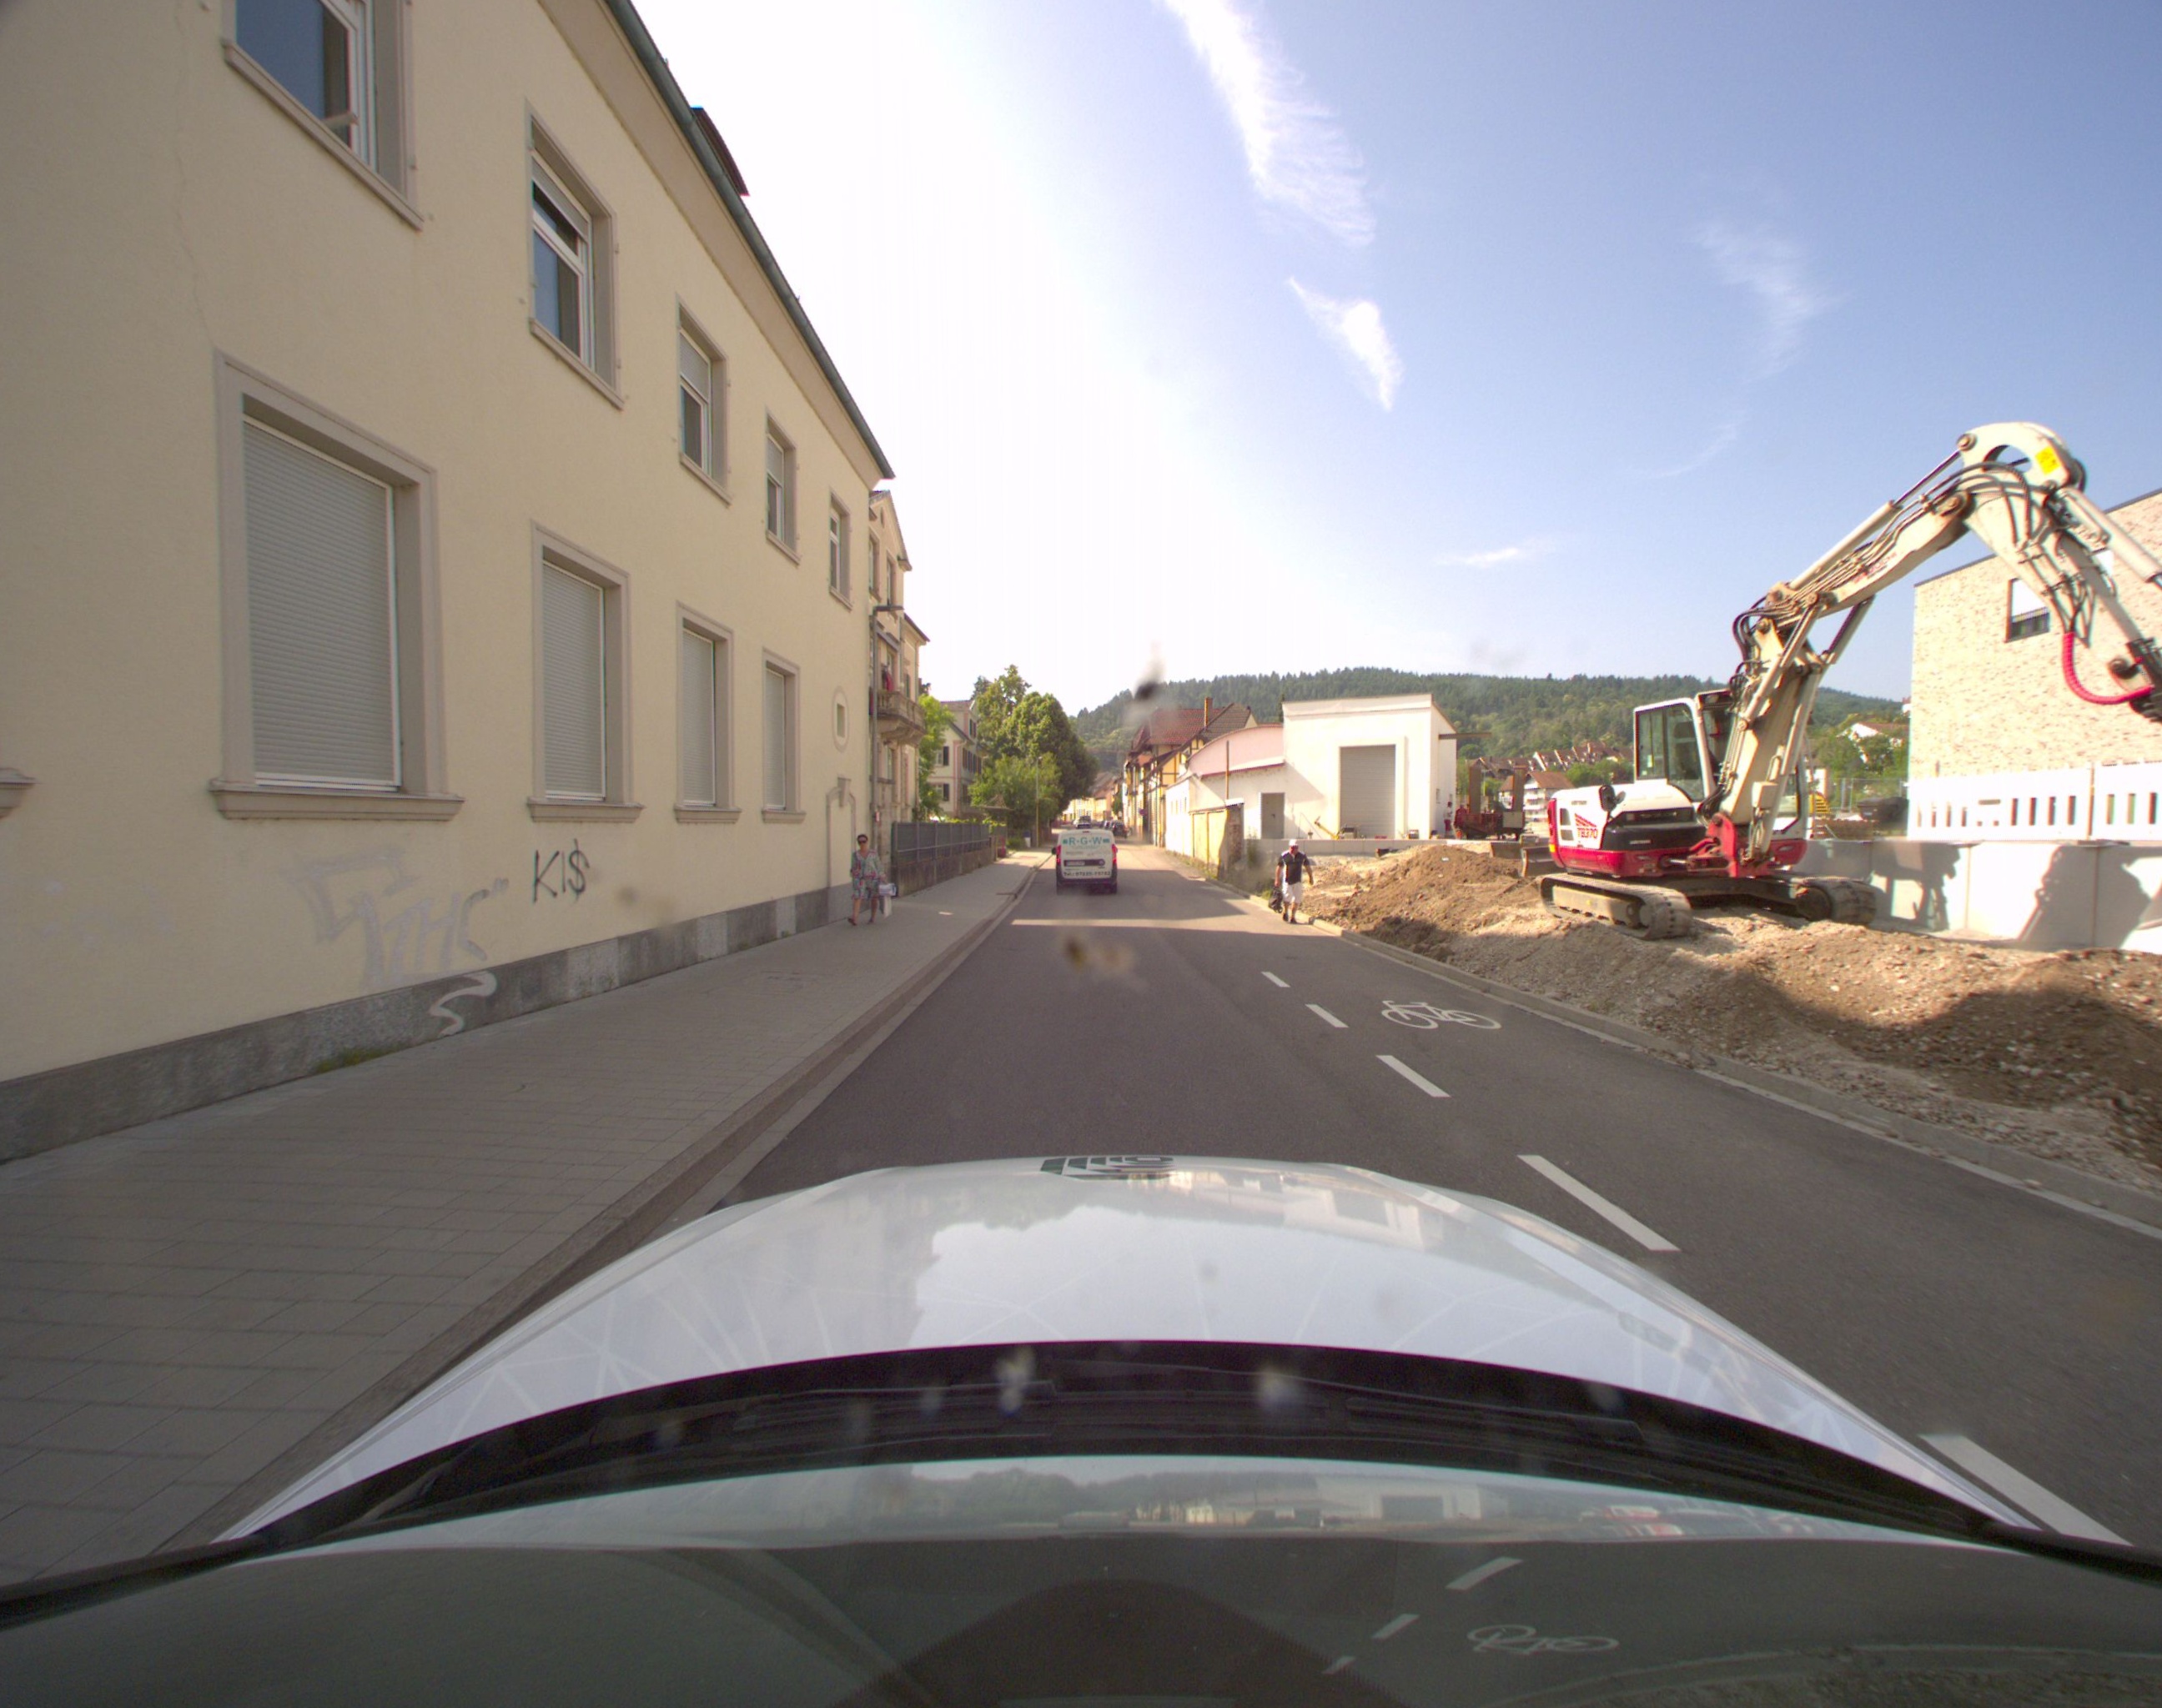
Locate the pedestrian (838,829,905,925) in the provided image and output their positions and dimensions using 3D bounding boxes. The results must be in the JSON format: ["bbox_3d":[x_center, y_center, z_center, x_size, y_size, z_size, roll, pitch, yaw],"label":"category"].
[{"bbox_3d":[-3.662,0.385,14.293,0.955,1.631,0.758,1,1,0],"label":"pedestrian"}]

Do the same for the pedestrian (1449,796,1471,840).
[{"bbox_3d":[16.584,-1.590,35.635,0.628,1.896,0.611,5,4,45],"label":"pedestrian"}]

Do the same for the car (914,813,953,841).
[{"bbox_3d":[-10.187,-1.877,56.487,1.818,1.772,4.681,3,2,-2],"label":"car"}]

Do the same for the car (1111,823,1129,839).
[{"bbox_3d":[4.336,-2.598,91.466,1.804,1.596,3.928,2,3,1],"label":"car"}]

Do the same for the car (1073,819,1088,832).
[{"bbox_3d":[-0.127,-3.804,109.053,1.806,1.596,3.924,2,3,-3],"label":"car"}]

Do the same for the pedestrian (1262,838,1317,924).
[{"bbox_3d":[4.194,0.527,16.415,0.885,1.683,0.718,2,1,0],"label":"pedestrian"}]

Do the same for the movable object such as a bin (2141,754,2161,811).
[{"bbox_3d":[29.080,-1.855,21.138,1.291,1.463,1.324,3,3,10],"label":"movable object such as a bin"}]

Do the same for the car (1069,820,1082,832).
[{"bbox_3d":[-1.388,-6.826,198.600,2.870,2.835,6.116,-1,2,-5],"label":"car"}]

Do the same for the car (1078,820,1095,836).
[{"bbox_3d":[0.612,-2.910,89.368,1.805,1.596,3.927,2,3,0],"label":"car"}]

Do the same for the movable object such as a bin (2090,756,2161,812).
[{"bbox_3d":[29.480,-1.914,22.563,1.291,1.463,1.324,3,3,10],"label":"movable object such as a bin"}]

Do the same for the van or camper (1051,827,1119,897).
[{"bbox_3d":[0.084,0.147,24.677,1.822,1.844,4.188,-2,2,-1],"label":"van or camper"}]

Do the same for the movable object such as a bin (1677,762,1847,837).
[{"bbox_3d":[25.478,-1.972,30.701,4.570,2.569,1.937,-1,1,26],"label":"movable object such as a bin"}]

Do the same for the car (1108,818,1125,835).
[{"bbox_3d":[4.436,-3.416,101.619,1.865,2.013,4.000,1,2,0],"label":"car"}]

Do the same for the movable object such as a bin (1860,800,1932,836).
[{"bbox_3d":[29.899,-1.329,29.925,1.288,1.267,1.324,3,3,10],"label":"movable object such as a bin"}]

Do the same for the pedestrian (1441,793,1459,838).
[{"bbox_3d":[15.826,-1.634,34.937,0.600,1.896,0.640,3,3,26],"label":"pedestrian"}]

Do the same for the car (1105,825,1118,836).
[{"bbox_3d":[4.378,-3.467,118.020,1.665,1.507,3.999,-1,2,-1],"label":"car"}]

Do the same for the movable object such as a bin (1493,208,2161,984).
[{"bbox_3d":[6.740,-1.354,7.534,2.285,3.853,7.809,2,2,4],"label":"movable object such as a bin"}]

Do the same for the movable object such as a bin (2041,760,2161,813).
[{"bbox_3d":[29.975,-1.970,23.978,1.682,1.463,1.324,3,3,10],"label":"movable object such as a bin"}]

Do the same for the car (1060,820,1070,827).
[{"bbox_3d":[-4.196,-7.956,211.908,1.772,1.798,3.986,0,2,-11],"label":"car"}]

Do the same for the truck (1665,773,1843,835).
[{"bbox_3d":[27.574,-2.003,33.653,5.265,2.265,2.232,-1,1,26],"label":"truck"}]

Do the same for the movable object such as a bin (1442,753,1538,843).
[{"bbox_3d":[18.248,-2.417,36.129,2.823,3.620,5.773,4,3,35],"label":"movable object such as a bin"}]
